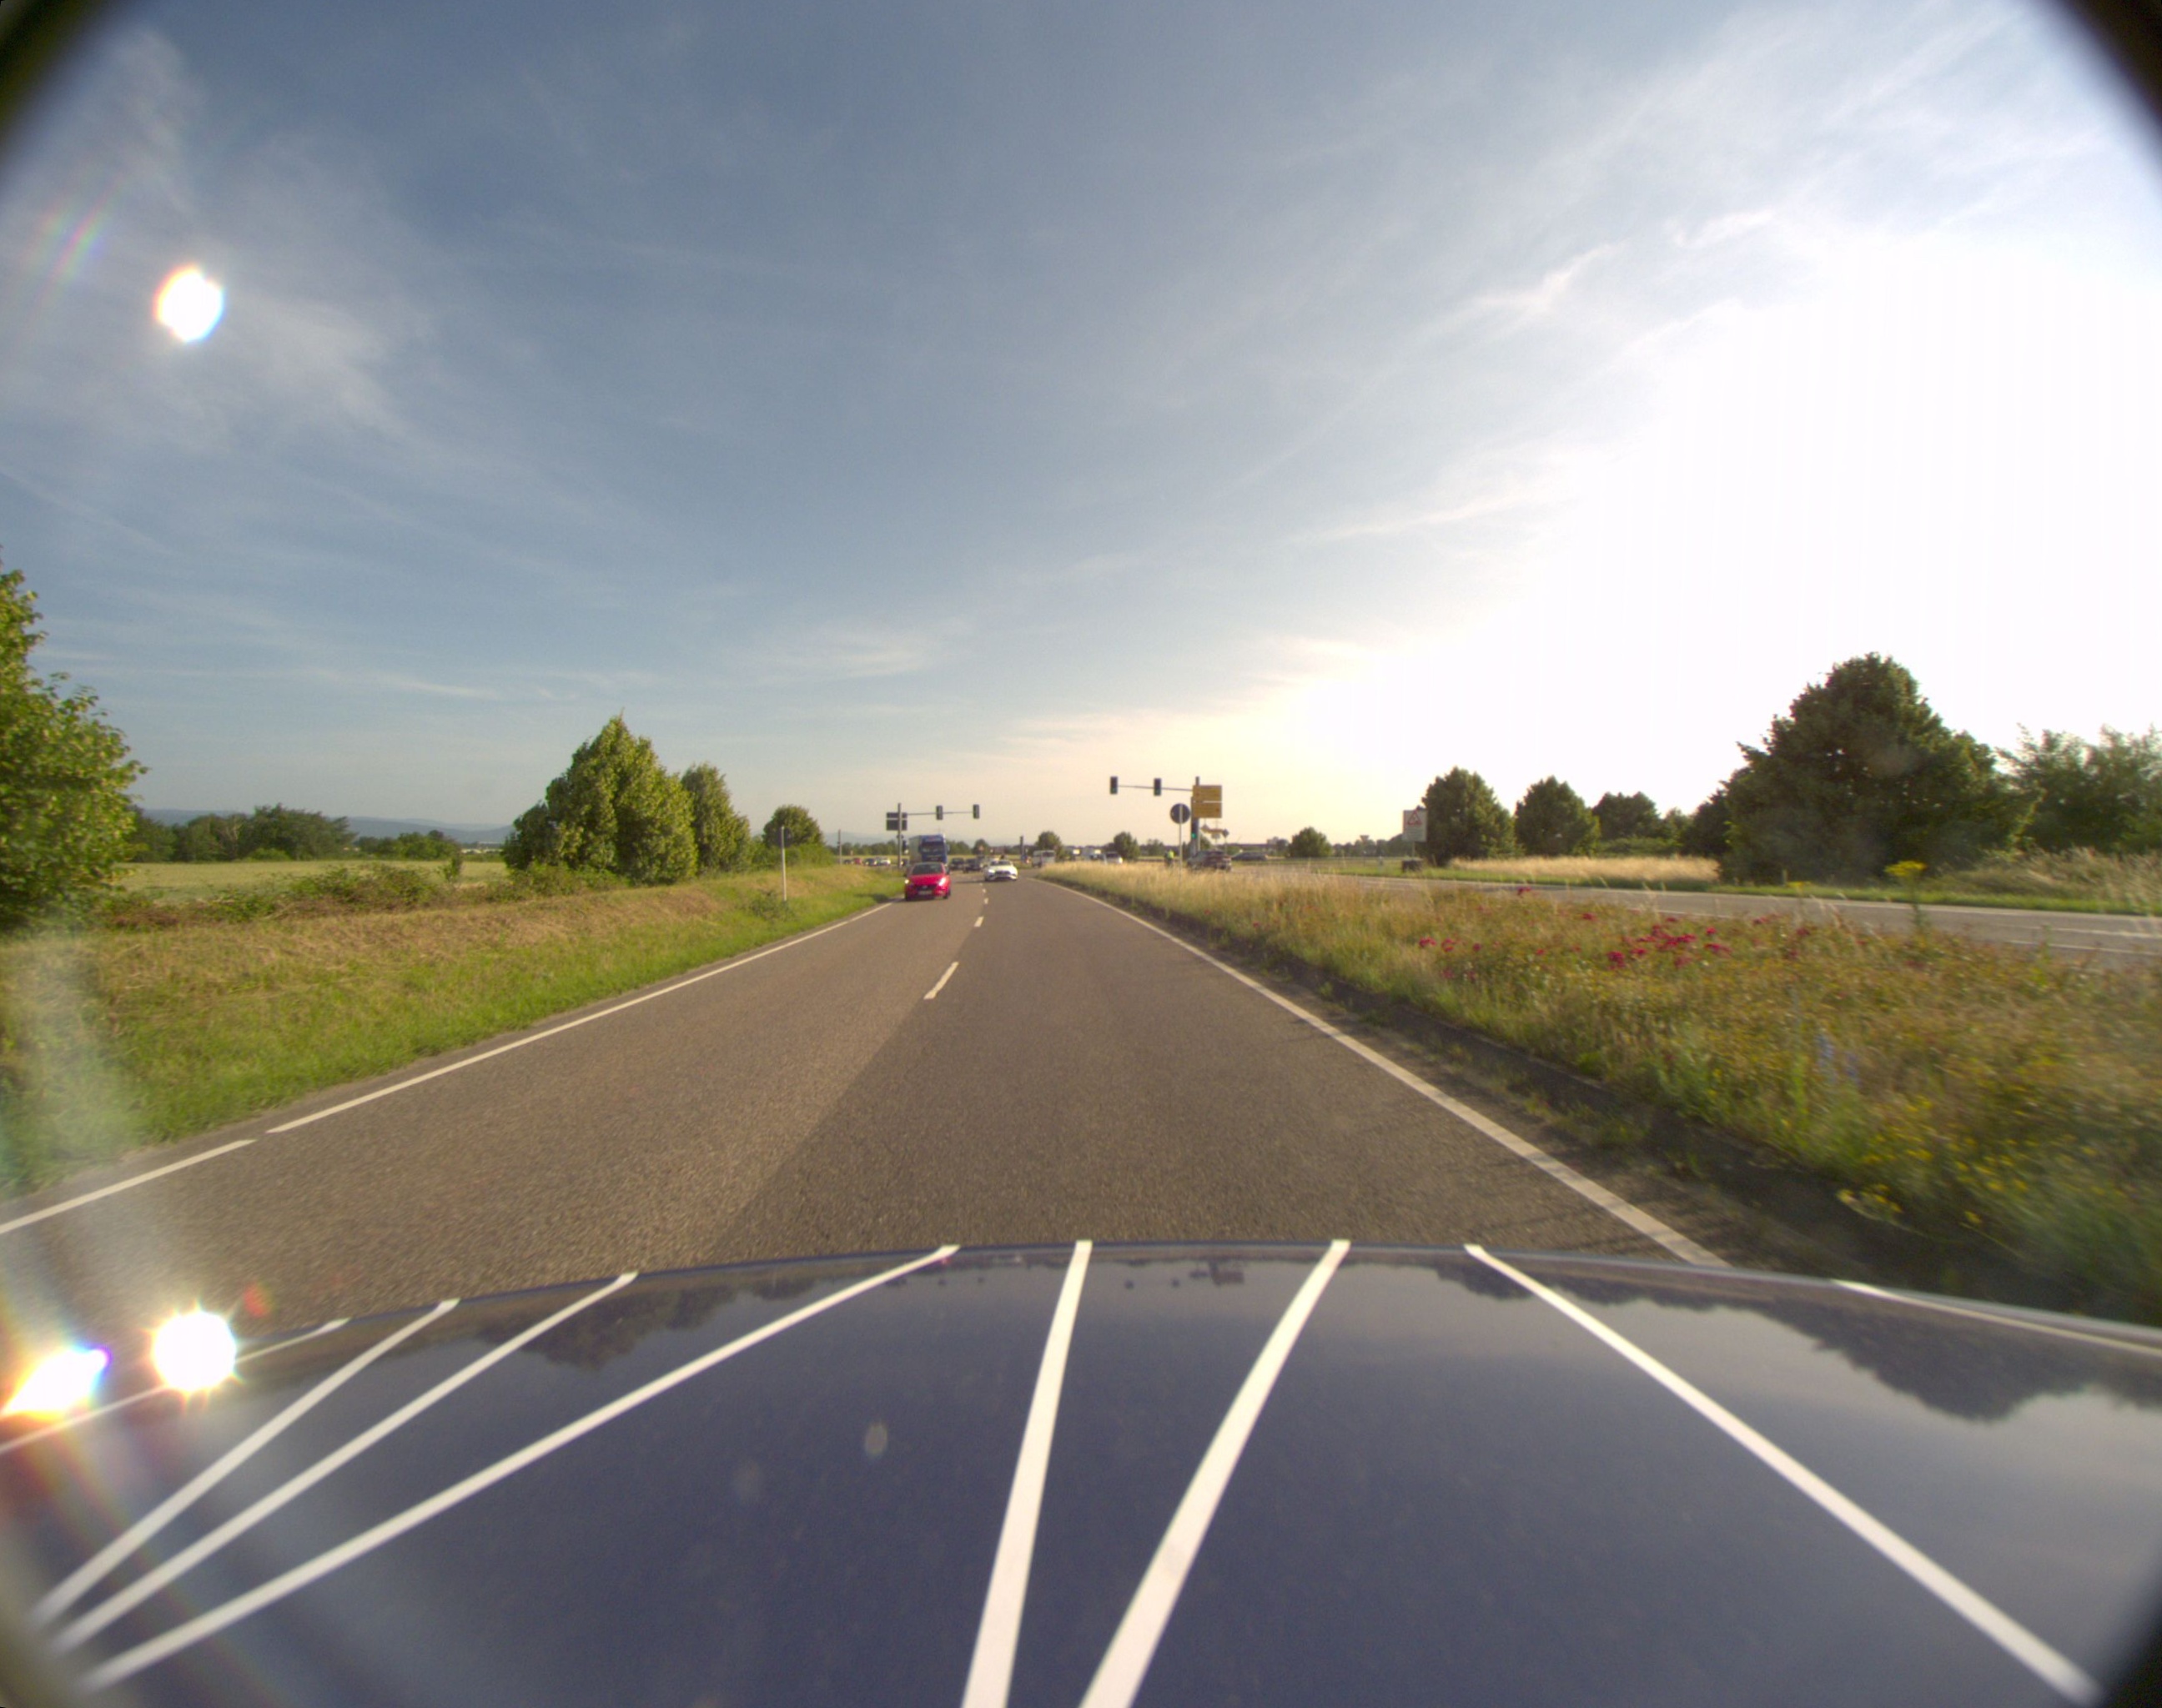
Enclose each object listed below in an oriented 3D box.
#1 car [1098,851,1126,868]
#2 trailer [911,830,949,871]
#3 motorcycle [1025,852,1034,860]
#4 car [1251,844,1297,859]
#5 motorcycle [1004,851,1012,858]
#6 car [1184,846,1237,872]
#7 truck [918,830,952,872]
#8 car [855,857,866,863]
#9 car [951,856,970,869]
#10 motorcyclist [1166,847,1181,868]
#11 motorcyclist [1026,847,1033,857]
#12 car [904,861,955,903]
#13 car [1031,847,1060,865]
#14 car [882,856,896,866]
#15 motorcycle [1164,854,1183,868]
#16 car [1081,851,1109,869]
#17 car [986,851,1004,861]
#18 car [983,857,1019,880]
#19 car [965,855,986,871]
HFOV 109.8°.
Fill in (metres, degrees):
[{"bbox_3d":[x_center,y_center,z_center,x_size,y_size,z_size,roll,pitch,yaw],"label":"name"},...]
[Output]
[{"bbox_3d":[3.037,0.507,74.892,1.712,1.516,4.130,-2,1,-12],"label":"car"},{"bbox_3d":[-16.522,-0.360,82.216,2.655,3.956,13.909,-3,1,-16],"label":"trailer"},{"bbox_3d":[-7.542,0.247,110.197,0.710,1.152,2.019,-2,1,-21],"label":"motorcycle"},{"bbox_3d":[19.191,-0.231,75.534,4.002,1.390,1.957,-2,0,-17],"label":"car"},{"bbox_3d":[-11.637,0.111,121.113,0.704,1.131,2.274,-2,0,-20],"label":"motorcycle"},{"bbox_3d":[8.240,0.300,48.696,1.919,1.556,4.606,-2,0,-10],"label":"car"},{"bbox_3d":[-14.629,-0.306,75.763,2.654,3.897,5.942,-3,1,-16],"label":"truck"},{"bbox_3d":[-49.216,1.380,169.801,1.522,1.387,3.509,-2,0,-29],"label":"car"},{"bbox_3d":[-14.103,0.970,88.803,1.833,1.521,3.995,-2,1,-14],"label":"car"},{"bbox_3d":[7.148,0.269,59.004,0.754,1.595,1.248,-2,1,-11],"label":"motorcyclist"},{"bbox_3d":[-7.505,-0.256,110.160,0.707,1.456,1.018,-2,1,-20],"label":"motorcyclist"},{"bbox_3d":[-6.147,1.089,31.145,1.666,1.455,3.952,-2,1,-6],"label":"car"},{"bbox_3d":[-4.154,0.225,88.154,2.001,1.893,5.780,-2,1,-16],"label":"car"},{"bbox_3d":[-36.599,1.377,144.921,2.002,1.871,3.992,-2,0,-23],"label":"car"},{"bbox_3d":[7.162,0.524,58.924,0.754,1.087,2.306,-2,1,-11],"label":"motorcycle"},{"bbox_3d":[1.196,0.512,66.657,1.684,1.435,3.748,-2,1,-10],"label":"car"},{"bbox_3d":[-12.641,0.287,111.867,1.701,1.345,4.445,-2,1,-19],"label":"car"},{"bbox_3d":[-5.246,0.917,49.656,1.877,1.390,4.199,-2,1,-12],"label":"car"},{"bbox_3d":[-10.536,0.858,75.754,1.753,1.521,3.995,-2,1,-12],"label":"car"}]
